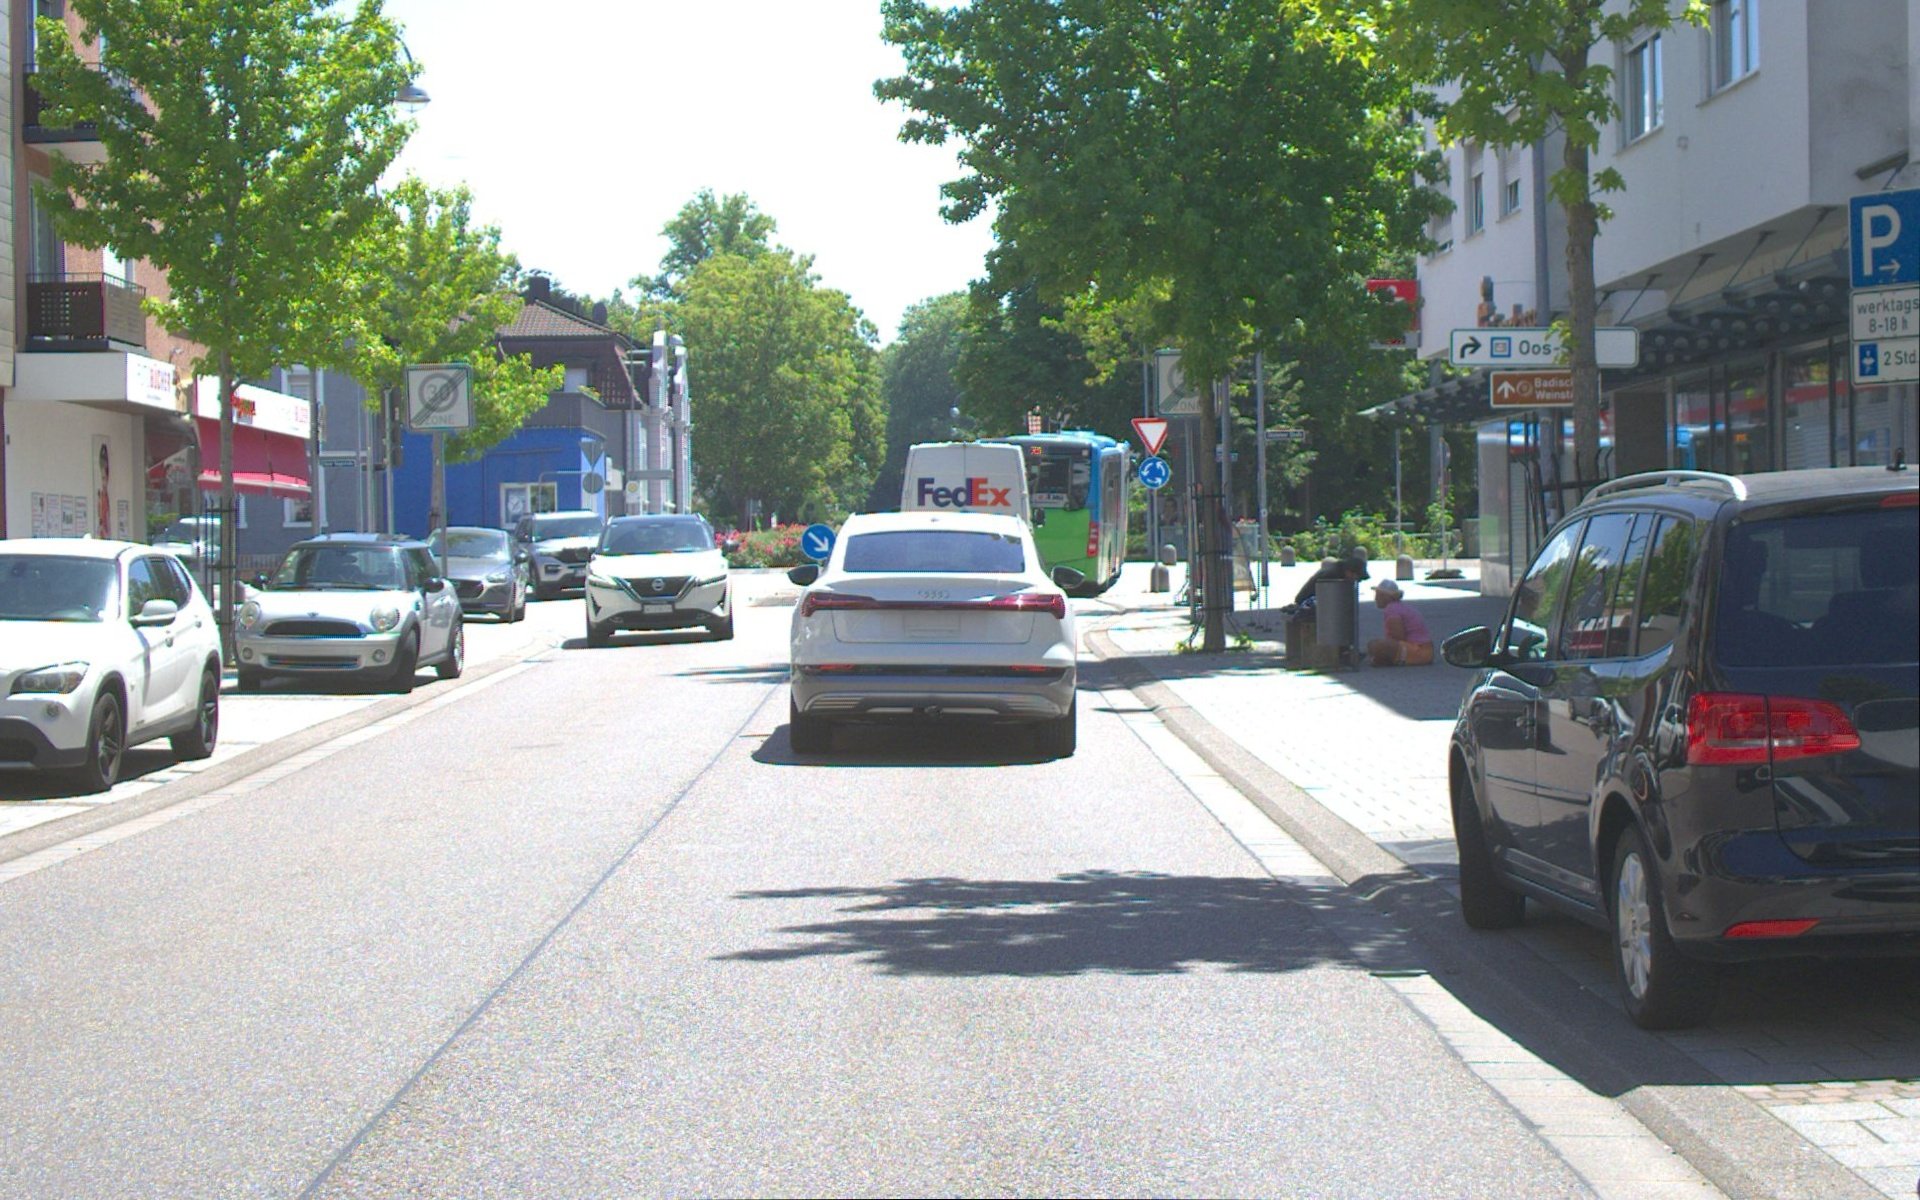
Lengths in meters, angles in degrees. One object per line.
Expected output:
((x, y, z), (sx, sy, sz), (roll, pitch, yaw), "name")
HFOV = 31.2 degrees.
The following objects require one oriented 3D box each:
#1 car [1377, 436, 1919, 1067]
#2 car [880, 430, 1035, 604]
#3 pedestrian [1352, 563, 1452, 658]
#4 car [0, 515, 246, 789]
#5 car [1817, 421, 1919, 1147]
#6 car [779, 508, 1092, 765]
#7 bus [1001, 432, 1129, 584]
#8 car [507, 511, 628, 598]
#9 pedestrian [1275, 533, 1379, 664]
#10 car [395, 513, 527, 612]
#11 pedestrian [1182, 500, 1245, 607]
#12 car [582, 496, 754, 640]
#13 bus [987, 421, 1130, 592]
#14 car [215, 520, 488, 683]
((2.743, 0.332, 11.551), (1.855, 1.669, 4.537), (-3, 1, -3), "car")
((-0.035, -1.215, 51.357), (2.156, 2.433, 5.284), (1, 1, 0), "car")
((4.212, 0.098, 32.831), (0.906, 0.876, 0.648), (-1, 1, 5), "pedestrian")
((-6.085, 0.254, 22.678), (1.752, 1.612, 4.401), (1, 1, 1), "car")
((3.211, 0.425, 6.206), (1.896, 1.669, 4.691), (-3, 1, -3), "car")
((-0.212, 0.193, 24.013), (1.993, 1.627, 4.000), (1, 1, -2), "car")
((2.256, -2.009, 76.213), (2.661, 3.198, 7.451), (1, 1, 1), "bus")
((-8.269, -0.961, 72.135), (1.864, 1.751, 4.001), (1, 1, -16), "car")
((3.548, -0.019, 33.302), (0.906, 1.232, 0.648), (-1, 1, -1), "pedestrian")
((-7.901, -0.620, 54.710), (1.837, 1.490, 4.001), (-1, 1, -5), "car")
((3.601, -0.658, 48.893), (0.580, 1.497, 0.719), (-2, 1, -28), "pedestrian")
((-3.686, -0.435, 44.042), (1.856, 1.686, 4.151), (-2, 1, -1), "car")
((2.003, -1.833, 68.933), (2.661, 3.210, 7.301), (1, 1, 2), "bus")
((-5.850, -0.032, 33.542), (1.752, 1.448, 4.401), (1, 1, 2), "car")
